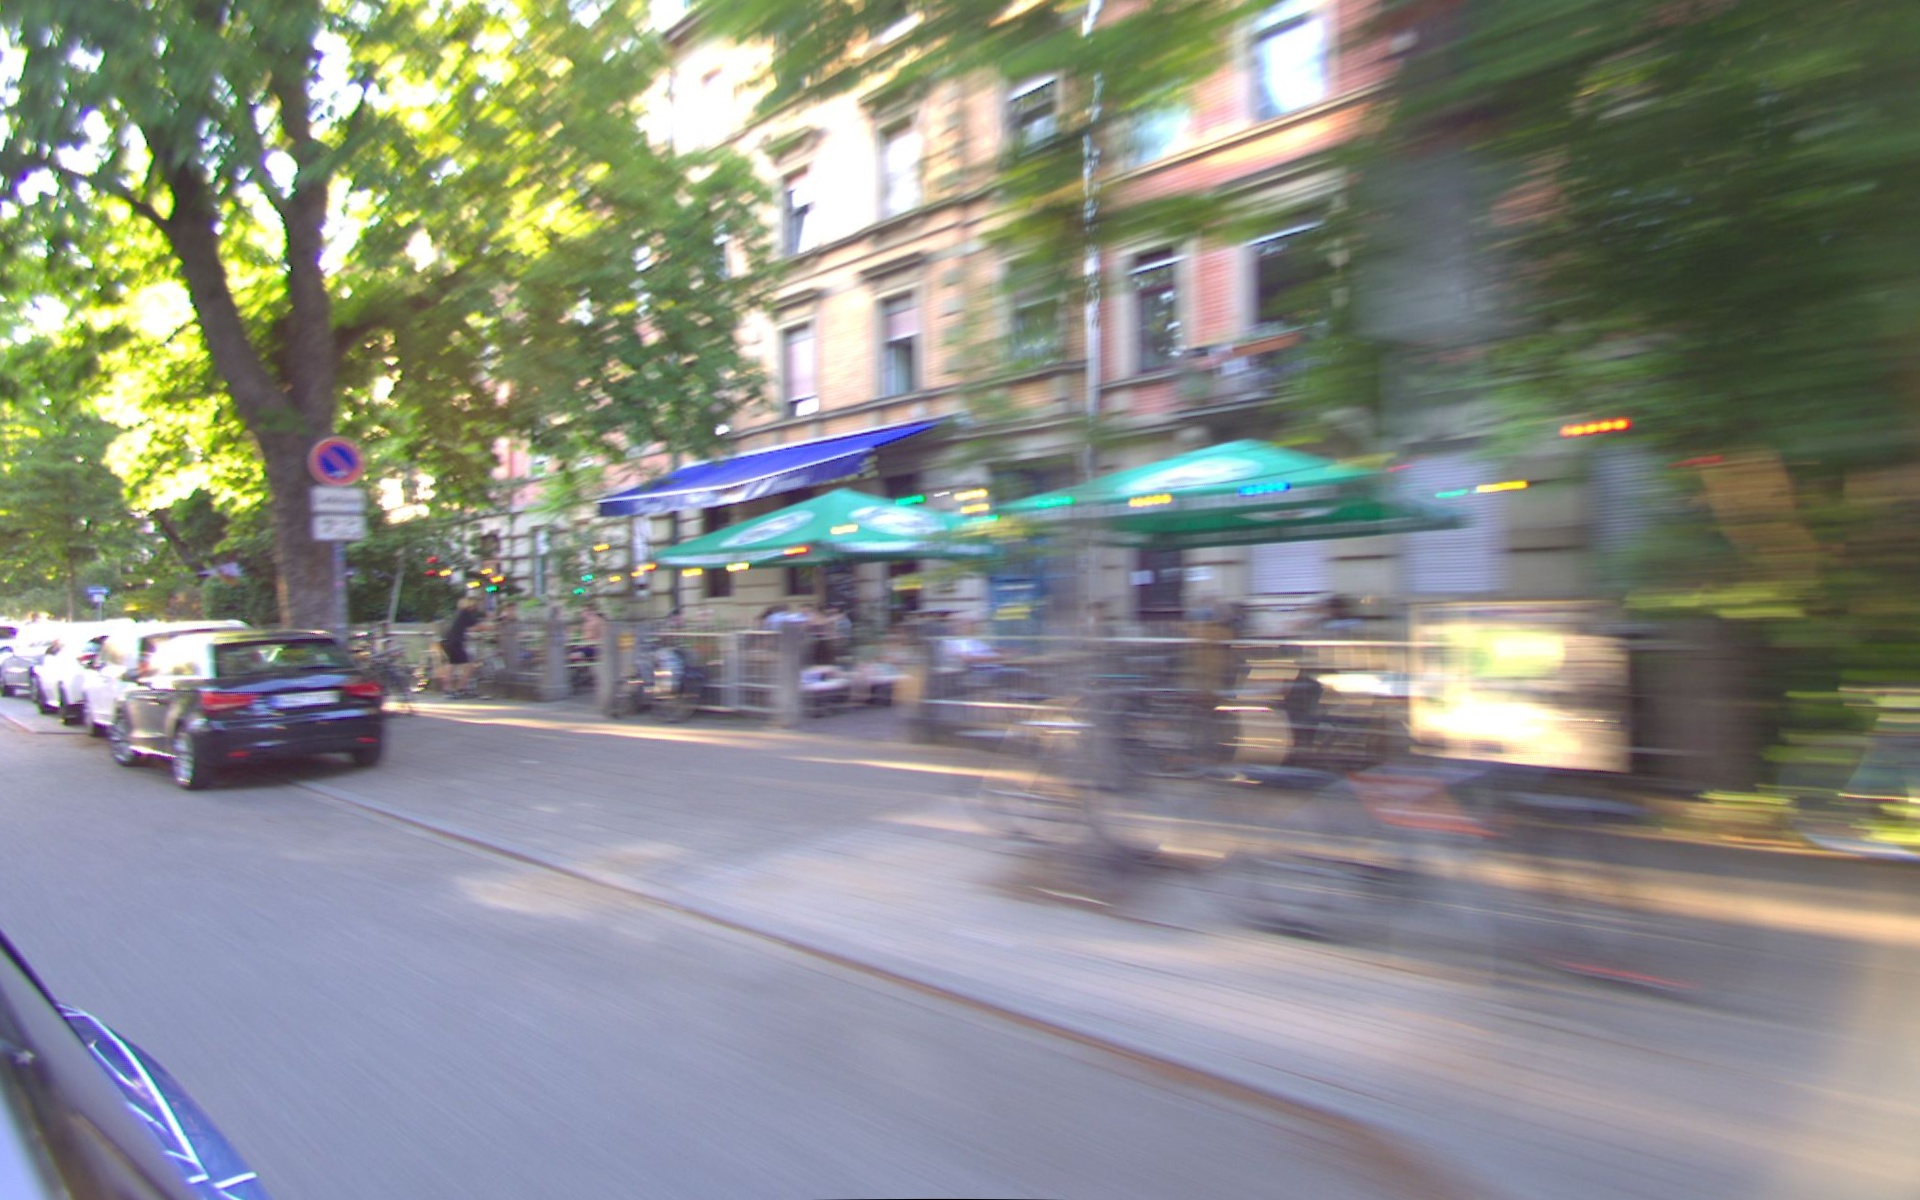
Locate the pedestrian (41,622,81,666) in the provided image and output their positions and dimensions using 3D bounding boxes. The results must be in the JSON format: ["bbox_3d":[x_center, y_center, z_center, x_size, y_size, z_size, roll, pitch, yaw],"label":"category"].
[{"bbox_3d":[-34.094,1.666,38.380,1.043,1.643,0.684,-1,-1,15],"label":"pedestrian"}]

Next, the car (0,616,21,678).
[{"bbox_3d":[-28.292,1.399,28.782,3.841,1.690,1.649,-2,1,38],"label":"car"}]

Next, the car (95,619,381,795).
[{"bbox_3d":[-7.539,0.980,10.453,3.690,1.497,1.536,-2,-2,40],"label":"car"}]

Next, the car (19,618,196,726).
[{"bbox_3d":[-13.898,1.099,16.428,3.883,1.446,1.587,-2,1,41],"label":"car"}]

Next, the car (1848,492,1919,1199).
[{"bbox_3d":[3.595,0.529,0.663,4.397,1.575,1.673,-2,1,39],"label":"car"}]

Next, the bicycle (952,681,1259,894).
[{"bbox_3d":[0.738,0.962,5.617,1.735,0.936,0.411,-2,1,44],"label":"bicycle"}]

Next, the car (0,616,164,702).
[{"bbox_3d":[-17.769,1.134,20.123,4.591,1.422,1.824,-2,1,36],"label":"car"}]

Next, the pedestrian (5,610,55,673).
[{"bbox_3d":[-30.638,1.368,33.343,1.002,2.029,0.863,-1,-1,21],"label":"pedestrian"}]

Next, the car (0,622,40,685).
[{"bbox_3d":[-25.149,1.403,26.050,3.707,1.504,1.647,-2,1,40],"label":"car"}]

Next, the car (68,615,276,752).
[{"bbox_3d":[-10.584,1.018,13.499,3.693,1.496,1.535,-2,1,42],"label":"car"}]

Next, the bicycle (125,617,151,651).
[{"bbox_3d":[-29.410,1.212,36.181,1.747,1.151,0.387,-3,6,45],"label":"bicycle"}]

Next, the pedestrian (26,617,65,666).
[{"bbox_3d":[-35.128,1.583,38.867,1.000,1.849,0.684,-1,-1,15],"label":"pedestrian"}]

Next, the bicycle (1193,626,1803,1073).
[{"bbox_3d":[1.860,0.755,3.765,1.900,1.264,0.477,-2,2,44],"label":"bicycle"}]
